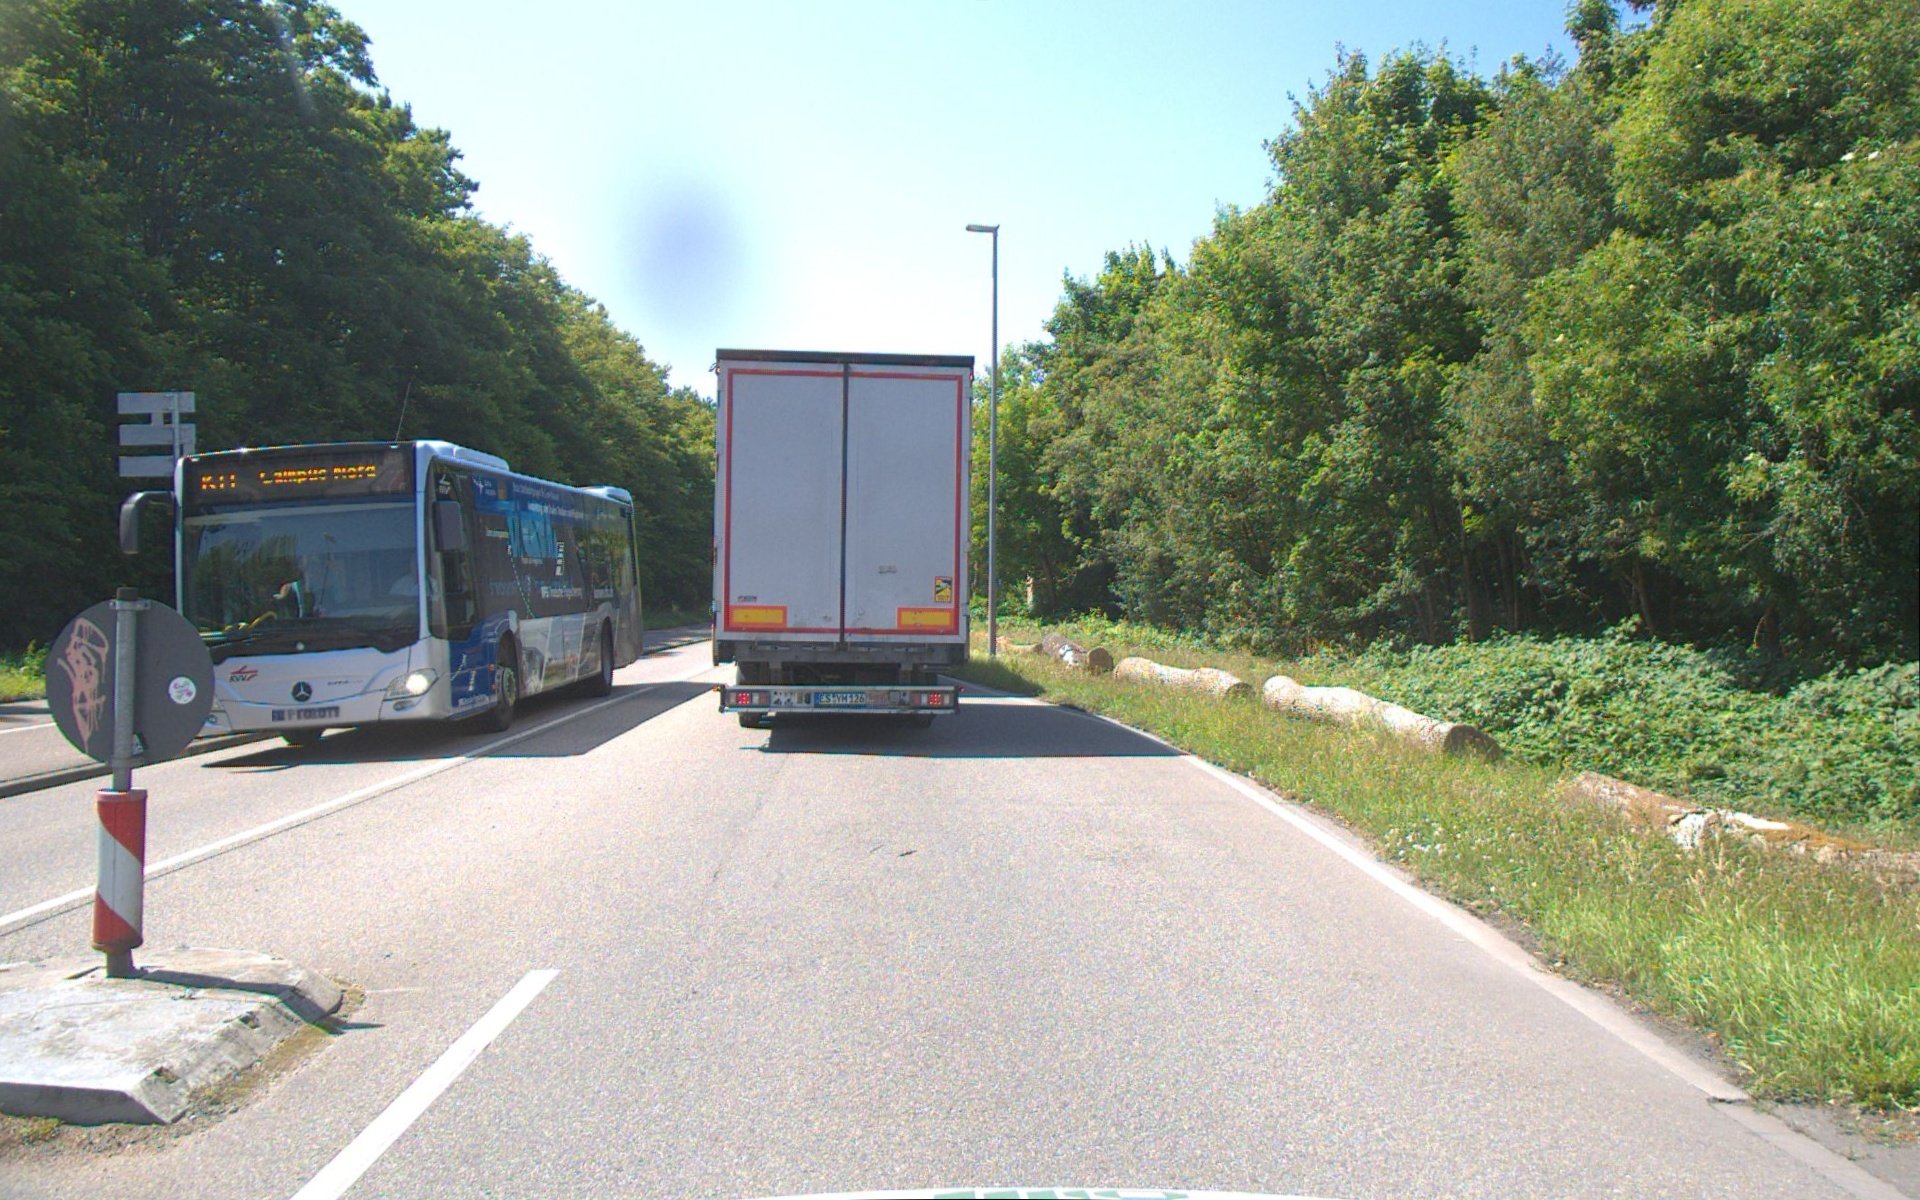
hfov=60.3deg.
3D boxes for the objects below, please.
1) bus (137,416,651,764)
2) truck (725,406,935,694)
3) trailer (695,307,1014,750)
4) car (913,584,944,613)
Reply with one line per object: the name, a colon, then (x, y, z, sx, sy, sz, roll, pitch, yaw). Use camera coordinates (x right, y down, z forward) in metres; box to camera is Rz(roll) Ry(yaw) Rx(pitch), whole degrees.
bus: (-6.343, -0.170, 21.290, 2.694, 3.098, 11.935, -3, 1, -2)
truck: (-2.251, -0.770, 27.878, 3.017, 4.140, 7.950, 0, 1, -6)
trailer: (-1.490, -0.702, 20.520, 3.018, 4.141, 9.796, 0, 0, -6)
car: (-1.790, -0.110, 92.438, 1.676, 1.557, 3.849, 0, 0, -2)
